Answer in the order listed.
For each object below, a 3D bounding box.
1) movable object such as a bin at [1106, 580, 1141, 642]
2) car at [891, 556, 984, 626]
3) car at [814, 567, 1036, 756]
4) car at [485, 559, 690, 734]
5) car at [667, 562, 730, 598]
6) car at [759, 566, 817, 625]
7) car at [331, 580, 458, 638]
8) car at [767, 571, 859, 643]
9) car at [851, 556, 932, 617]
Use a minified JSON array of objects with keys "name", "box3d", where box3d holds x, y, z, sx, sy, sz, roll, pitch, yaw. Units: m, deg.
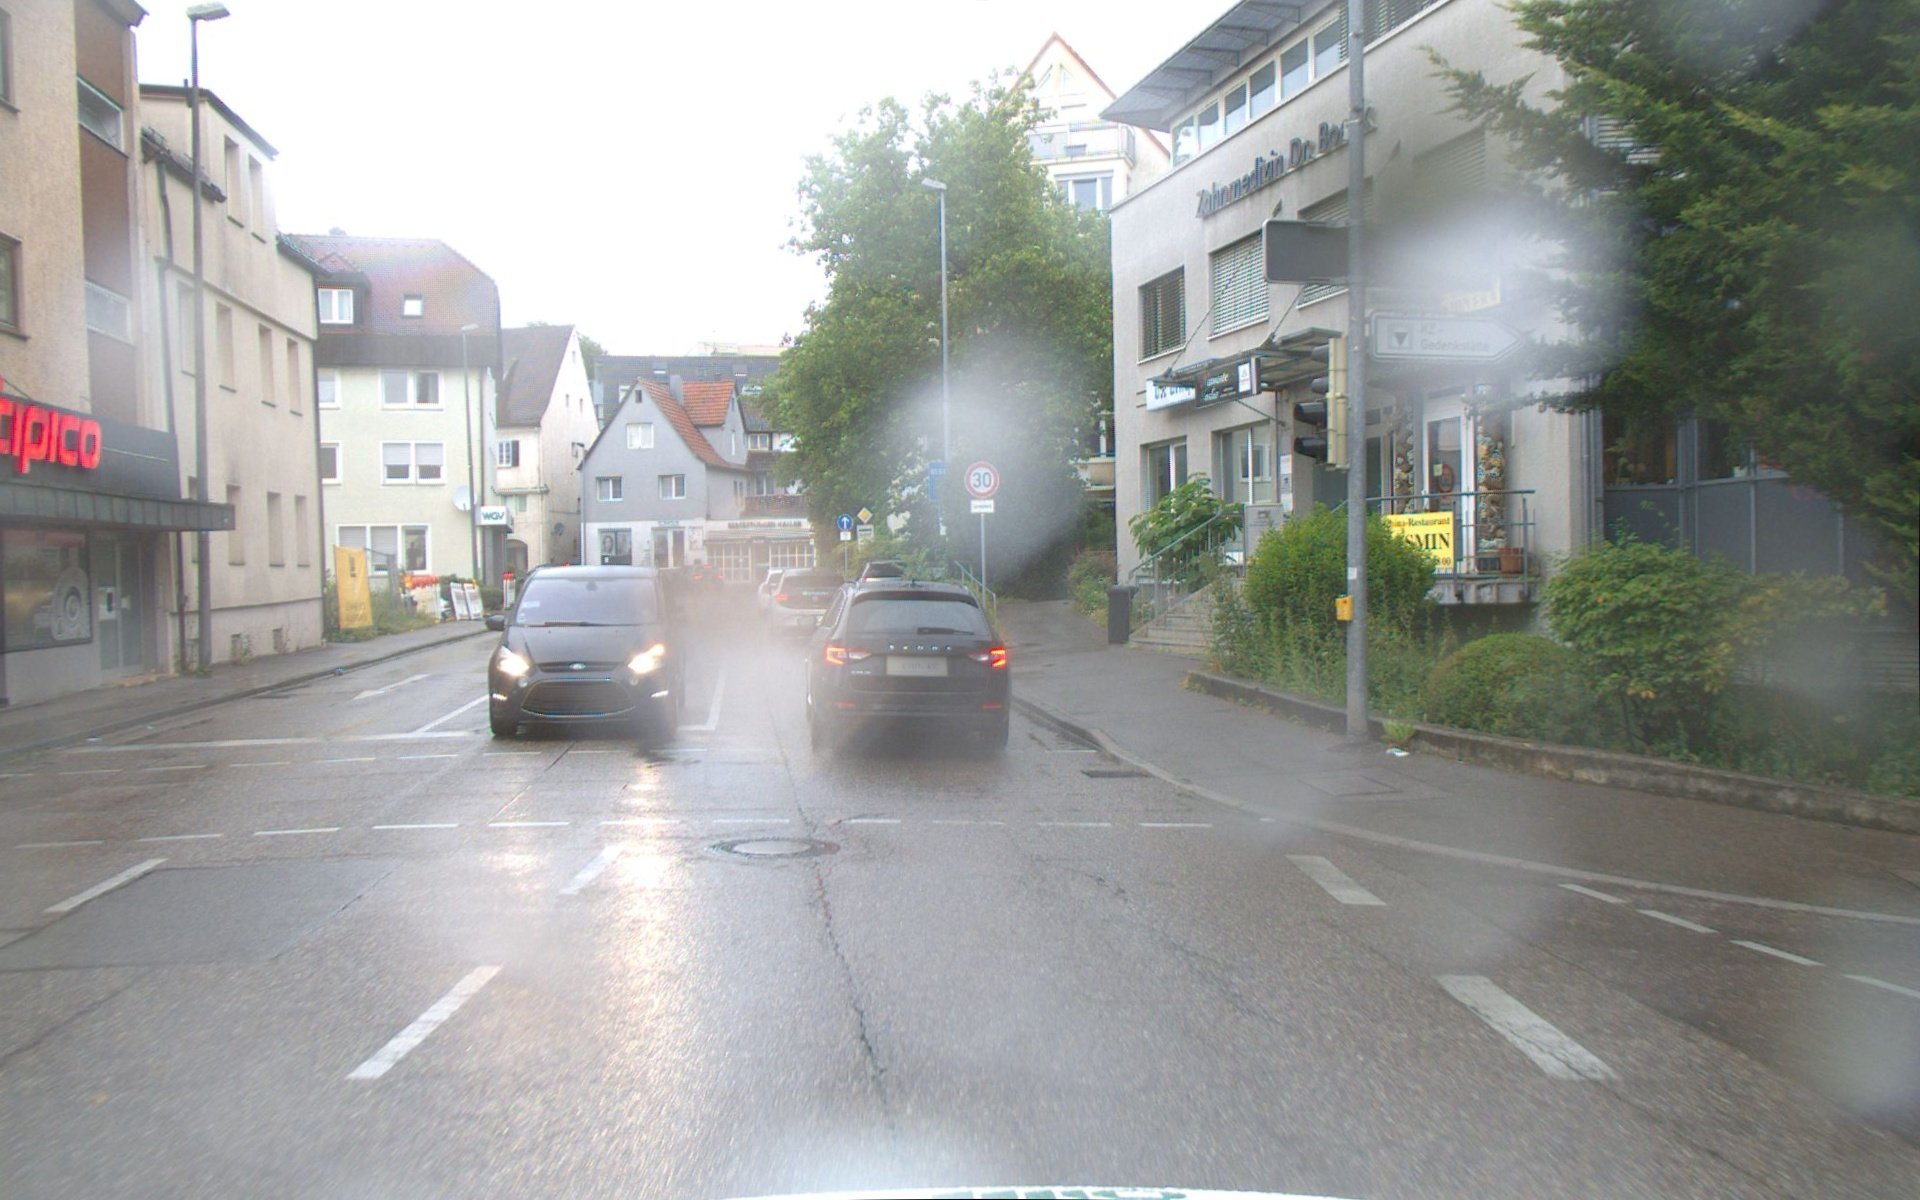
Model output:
[{"name":"movable object such as a bin","box3d":[2.722,0.182,27.556,0.500,0.962,0.603,2,5,10]},{"name":"car","box3d":[-0.627,-0.235,42.850,1.819,1.670,3.530,-2,1,-10]},{"name":"car","box3d":[-0.468,0.495,15.775,1.747,1.509,4.241,2,0,-6]},{"name":"car","box3d":[-3.755,0.384,17.302,1.751,1.590,4.394,0,1,-8]},{"name":"car","box3d":[-12.869,-0.961,81.221,1.872,1.618,3.652,-2,0,-29]},{"name":"car","box3d":[-5.283,-0.099,50.825,1.694,1.618,4.178,0,-2,-6]},{"name":"car","box3d":[-19.563,0.301,57.294,3.951,1.410,1.784,-8,5,-19]},{"name":"car","box3d":[-3.097,0.122,34.517,1.783,1.383,3.984,-1,1,-6]},{"name":"car","box3d":[-2.060,-0.398,48.732,1.819,1.670,3.862,-2,1,-10]}]
